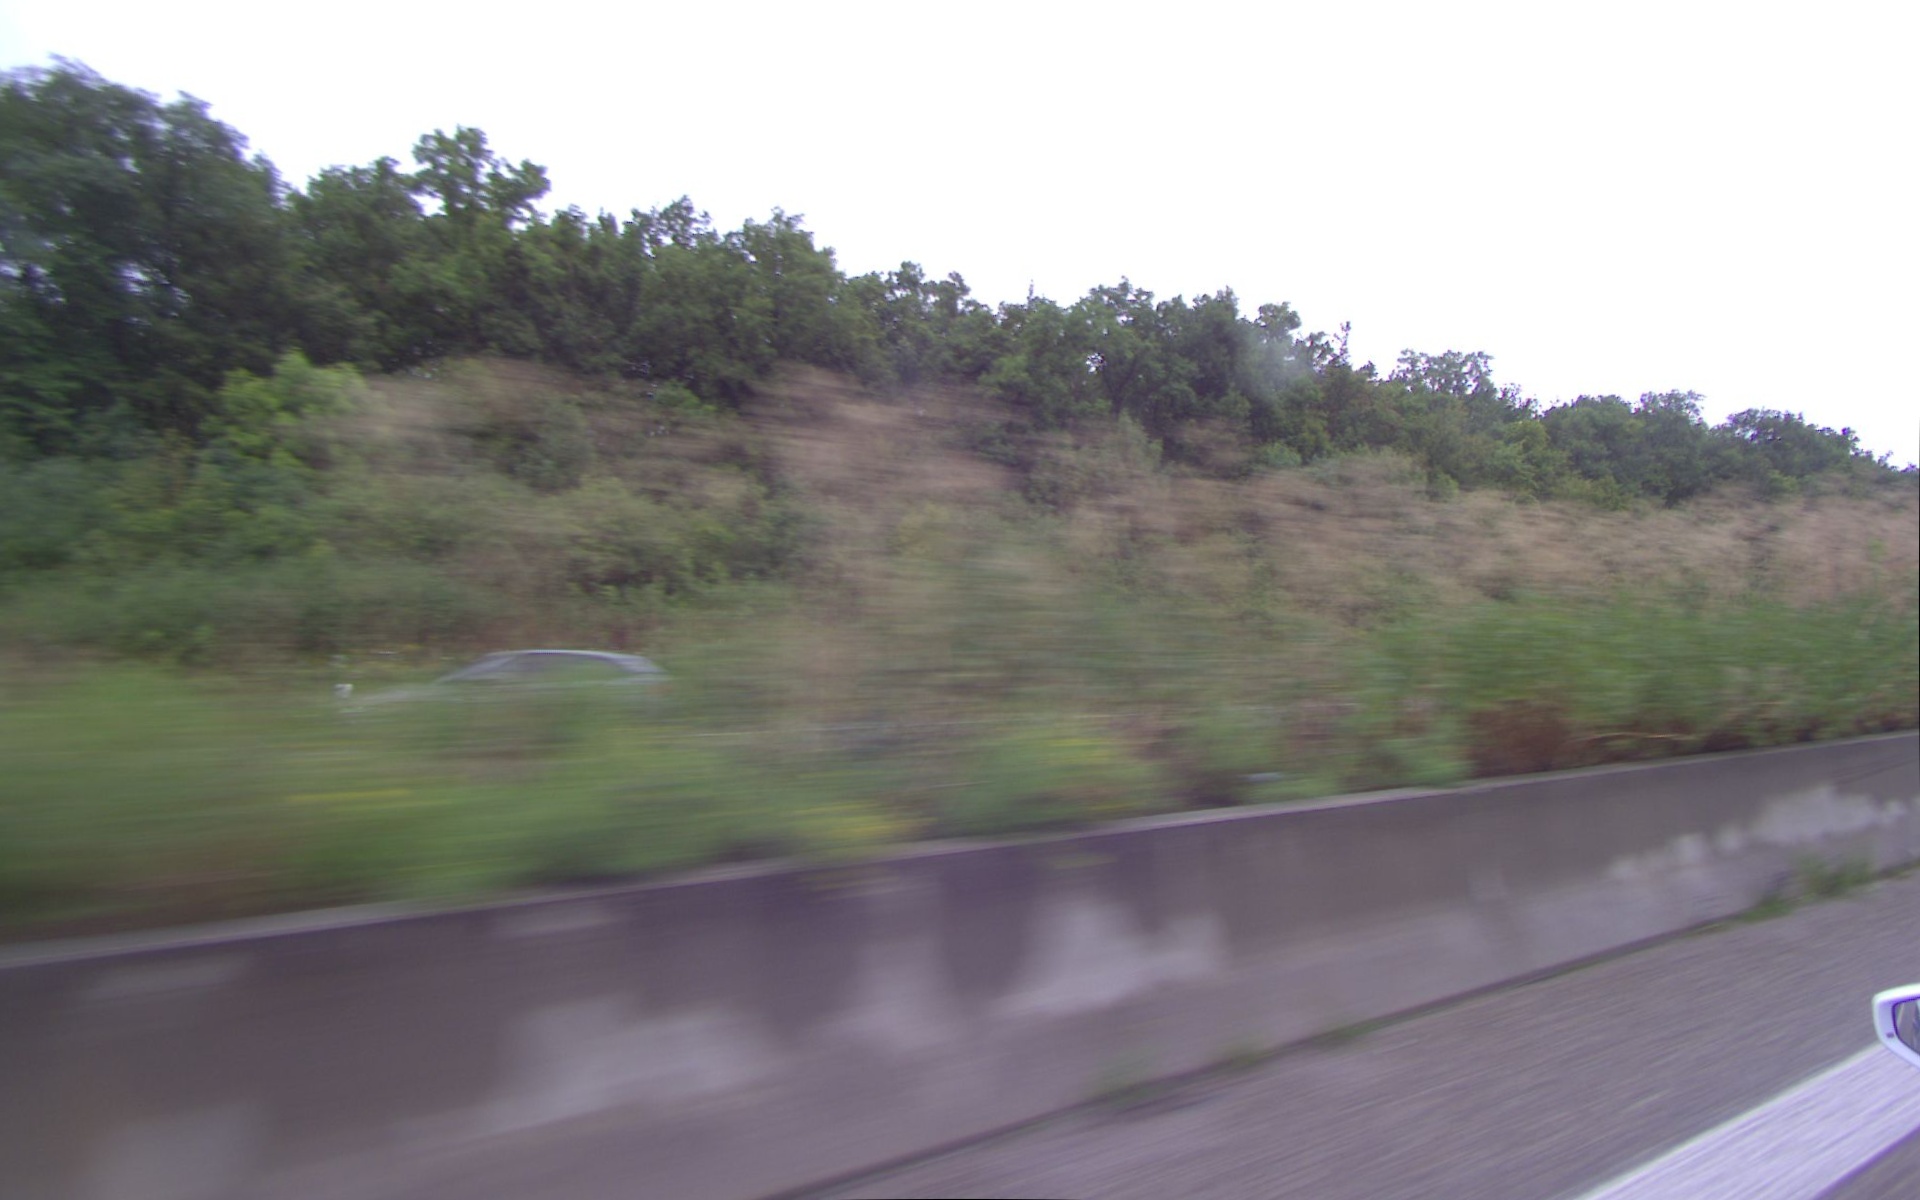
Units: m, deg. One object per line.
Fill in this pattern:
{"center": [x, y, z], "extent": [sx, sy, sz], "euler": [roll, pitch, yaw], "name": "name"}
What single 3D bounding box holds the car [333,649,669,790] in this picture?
{"center": [-6.176, 1.519, 13.756], "extent": [3.951, 1.653, 1.635], "euler": [1, -2, -29], "name": "car"}
